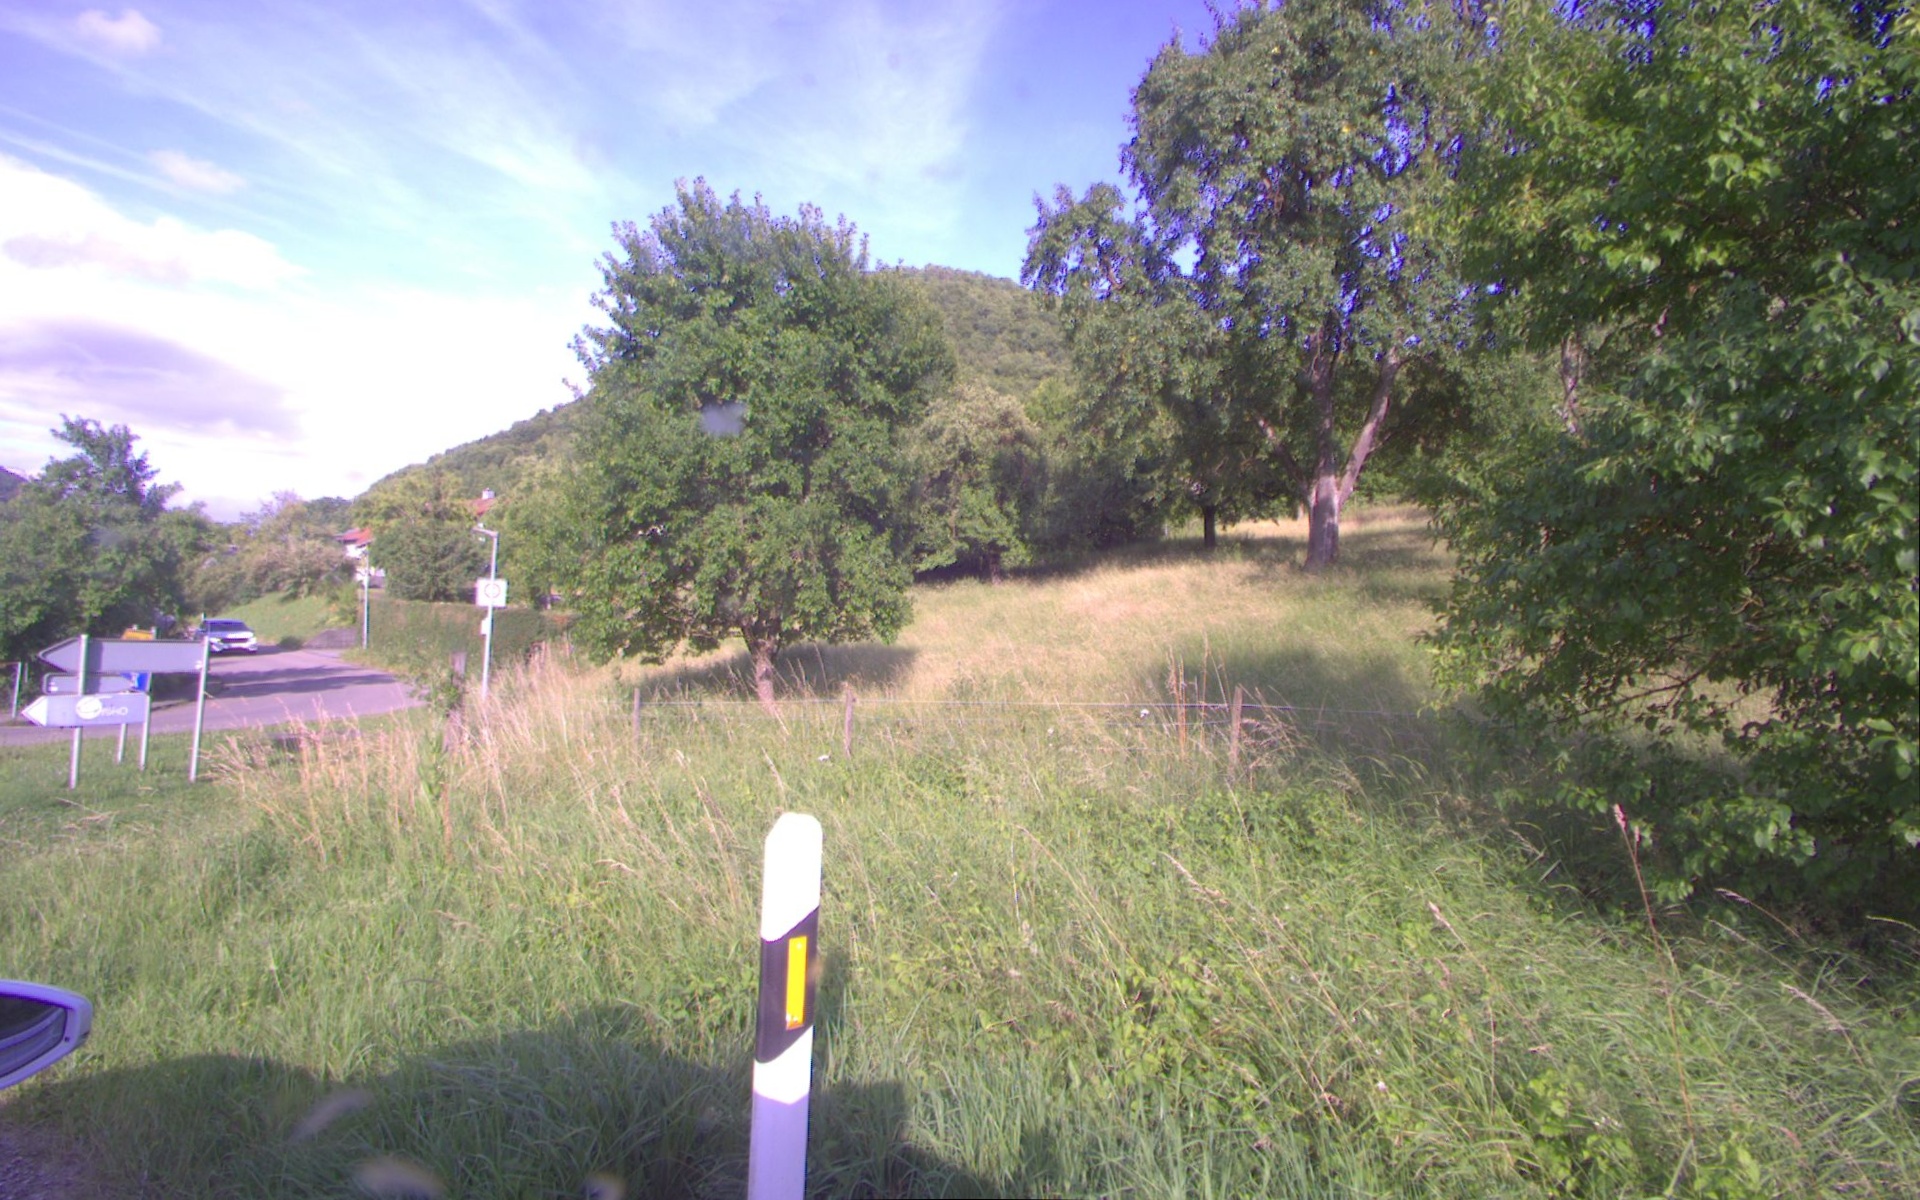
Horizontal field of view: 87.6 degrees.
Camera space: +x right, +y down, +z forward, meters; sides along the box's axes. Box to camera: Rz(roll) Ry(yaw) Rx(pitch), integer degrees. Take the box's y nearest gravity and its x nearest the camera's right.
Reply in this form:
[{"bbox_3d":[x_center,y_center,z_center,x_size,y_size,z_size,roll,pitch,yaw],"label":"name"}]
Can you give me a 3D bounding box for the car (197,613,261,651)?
[{"bbox_3d":[-34.069,1.473,46.624,1.855,1.631,4.528,2,-2,-43],"label":"car"}]
